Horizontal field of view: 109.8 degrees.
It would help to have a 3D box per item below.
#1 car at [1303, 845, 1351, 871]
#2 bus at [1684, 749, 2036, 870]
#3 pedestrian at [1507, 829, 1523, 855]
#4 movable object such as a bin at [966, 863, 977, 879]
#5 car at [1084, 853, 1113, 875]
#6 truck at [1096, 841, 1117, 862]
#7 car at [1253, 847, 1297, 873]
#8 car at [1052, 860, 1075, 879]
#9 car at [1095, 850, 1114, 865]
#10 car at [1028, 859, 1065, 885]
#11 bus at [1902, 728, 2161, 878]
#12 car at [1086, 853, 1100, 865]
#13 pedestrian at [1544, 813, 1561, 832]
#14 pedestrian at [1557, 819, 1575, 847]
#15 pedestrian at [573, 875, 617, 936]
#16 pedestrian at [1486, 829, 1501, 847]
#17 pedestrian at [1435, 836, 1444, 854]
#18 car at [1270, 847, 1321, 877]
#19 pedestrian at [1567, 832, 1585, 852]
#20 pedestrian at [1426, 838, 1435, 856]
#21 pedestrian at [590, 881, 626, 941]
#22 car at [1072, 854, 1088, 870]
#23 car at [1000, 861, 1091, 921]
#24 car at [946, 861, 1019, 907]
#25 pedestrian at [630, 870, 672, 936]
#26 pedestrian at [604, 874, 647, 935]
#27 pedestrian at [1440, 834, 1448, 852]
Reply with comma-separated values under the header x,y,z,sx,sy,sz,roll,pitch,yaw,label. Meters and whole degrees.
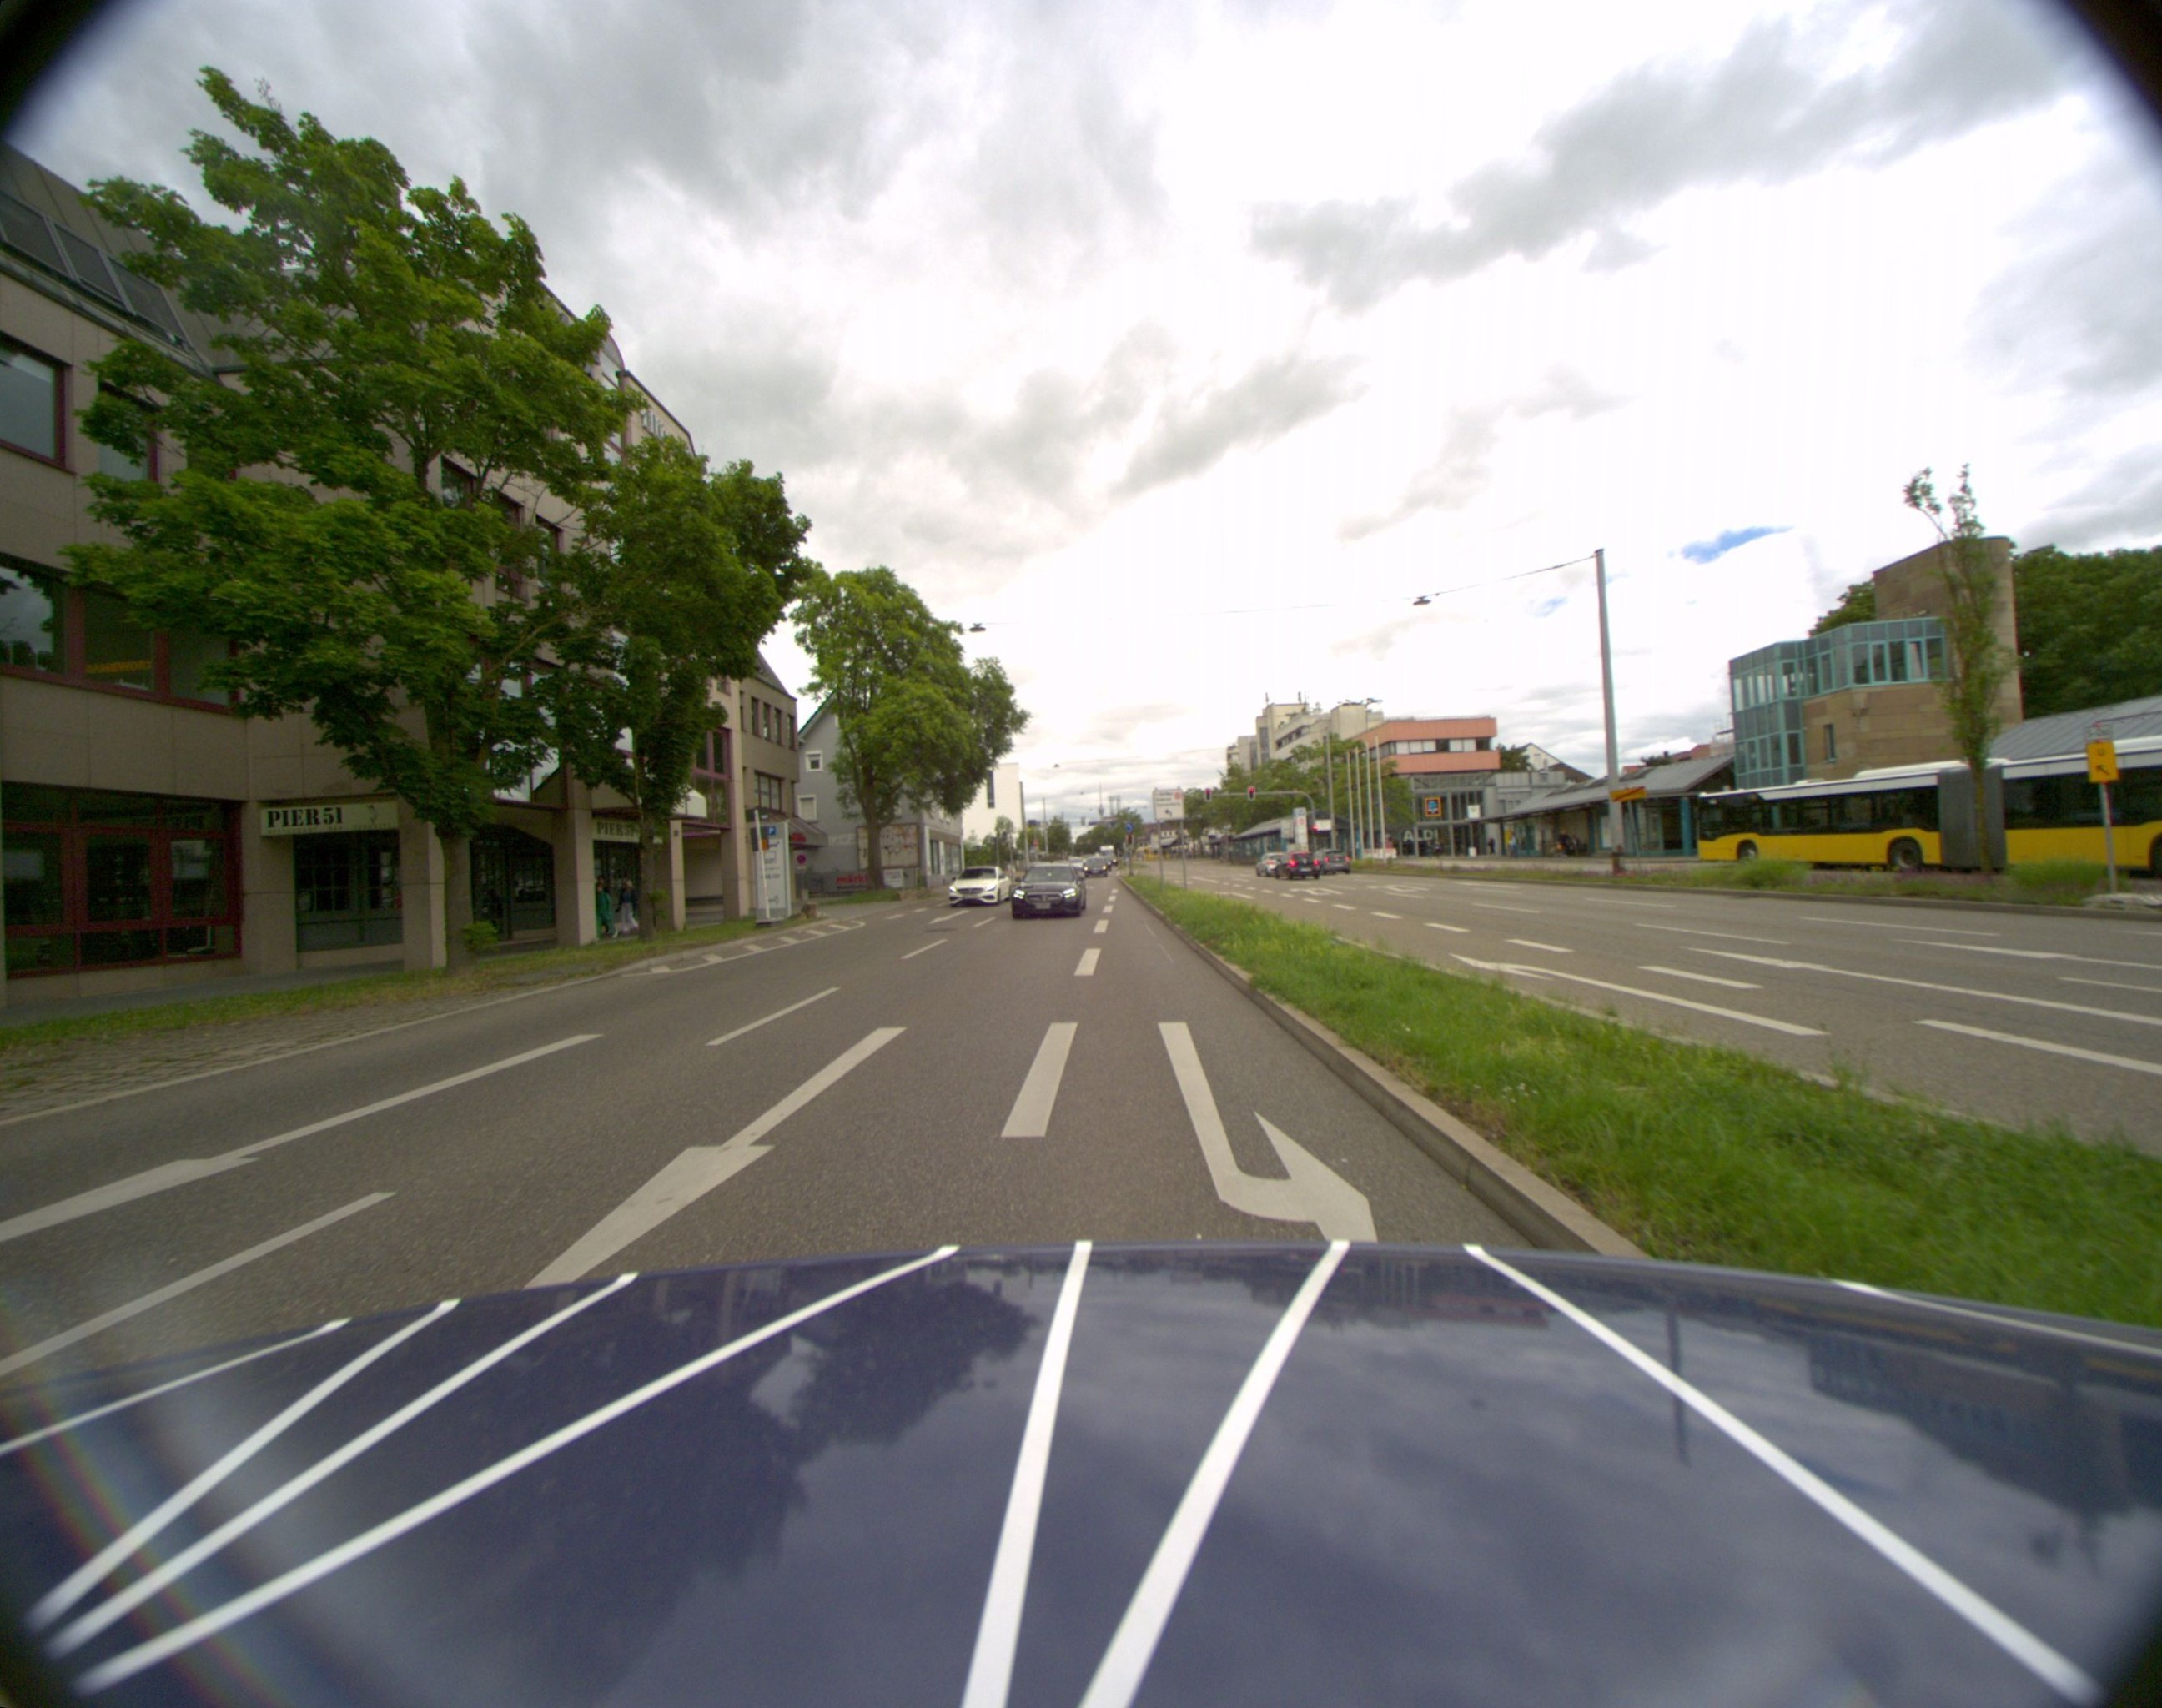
x,y,z,sx,sy,sz,roll,pitch,yaw,label
15.180,0.216,47.056,1.819,1.499,4.001,-3,0,4,car
25.187,-1.232,25.651,2.781,3.113,9.442,-5,0,6,bus
27.252,-0.747,47.735,0.621,1.640,0.658,-3,1,4,pedestrian
-7.952,1.203,55.114,0.610,1.098,0.710,-3,0,2,movable object such as a bin
1.334,0.768,60.165,1.972,1.631,4.311,-1,0,-3,car
4.329,-0.407,129.787,3.119,3.208,6.523,-3,0,-2,truck
12.005,0.402,47.246,1.749,1.456,3.790,-3,-1,0,car
-1.516,1.267,63.678,1.769,1.440,4.419,-3,0,-2,car
2.456,0.391,80.359,1.763,1.531,4.048,-2,0,0,car
-2.133,1.077,47.931,1.798,1.464,4.311,-3,0,4,car
24.074,-1.177,16.675,2.815,3.113,9.305,-5,0,8,bus
1.855,0.793,117.364,2.020,1.759,4.000,-3,0,1,car
29.222,-1.964,47.064,0.621,1.114,0.658,-3,1,4,pedestrian
29.106,-1.231,45.612,0.621,1.640,0.658,-3,1,4,pedestrian
-14.015,1.466,21.940,0.659,1.681,0.843,-1,1,3,pedestrian
33.327,-1.280,61.404,0.591,1.452,0.992,-3,0,2,pedestrian
31.306,-0.769,66.337,0.485,1.539,0.383,-3,1,-9,pedestrian
11.608,0.389,41.307,1.663,1.499,3.768,-3,0,0,car
29.085,-0.695,44.641,0.621,1.114,0.658,-3,1,4,pedestrian
30.581,-0.619,66.466,0.529,1.539,0.754,-3,0,15,pedestrian
-12.571,1.498,20.195,0.562,1.541,0.544,-1,1,3,pedestrian
-0.084,0.875,85.937,1.763,1.625,4.155,-2,0,0,car
-0.897,0.983,22.370,2.057,1.477,4.974,-1,0,4,car
-3.658,1.067,29.034,1.798,1.464,4.700,-3,0,4,car
-12.348,1.387,21.825,0.659,1.815,0.843,-1,1,3,pedestrian
-13.159,1.447,21.980,0.659,1.681,0.843,-1,1,3,pedestrian
31.941,-0.977,66.768,0.486,1.539,0.383,-4,1,-38,pedestrian
